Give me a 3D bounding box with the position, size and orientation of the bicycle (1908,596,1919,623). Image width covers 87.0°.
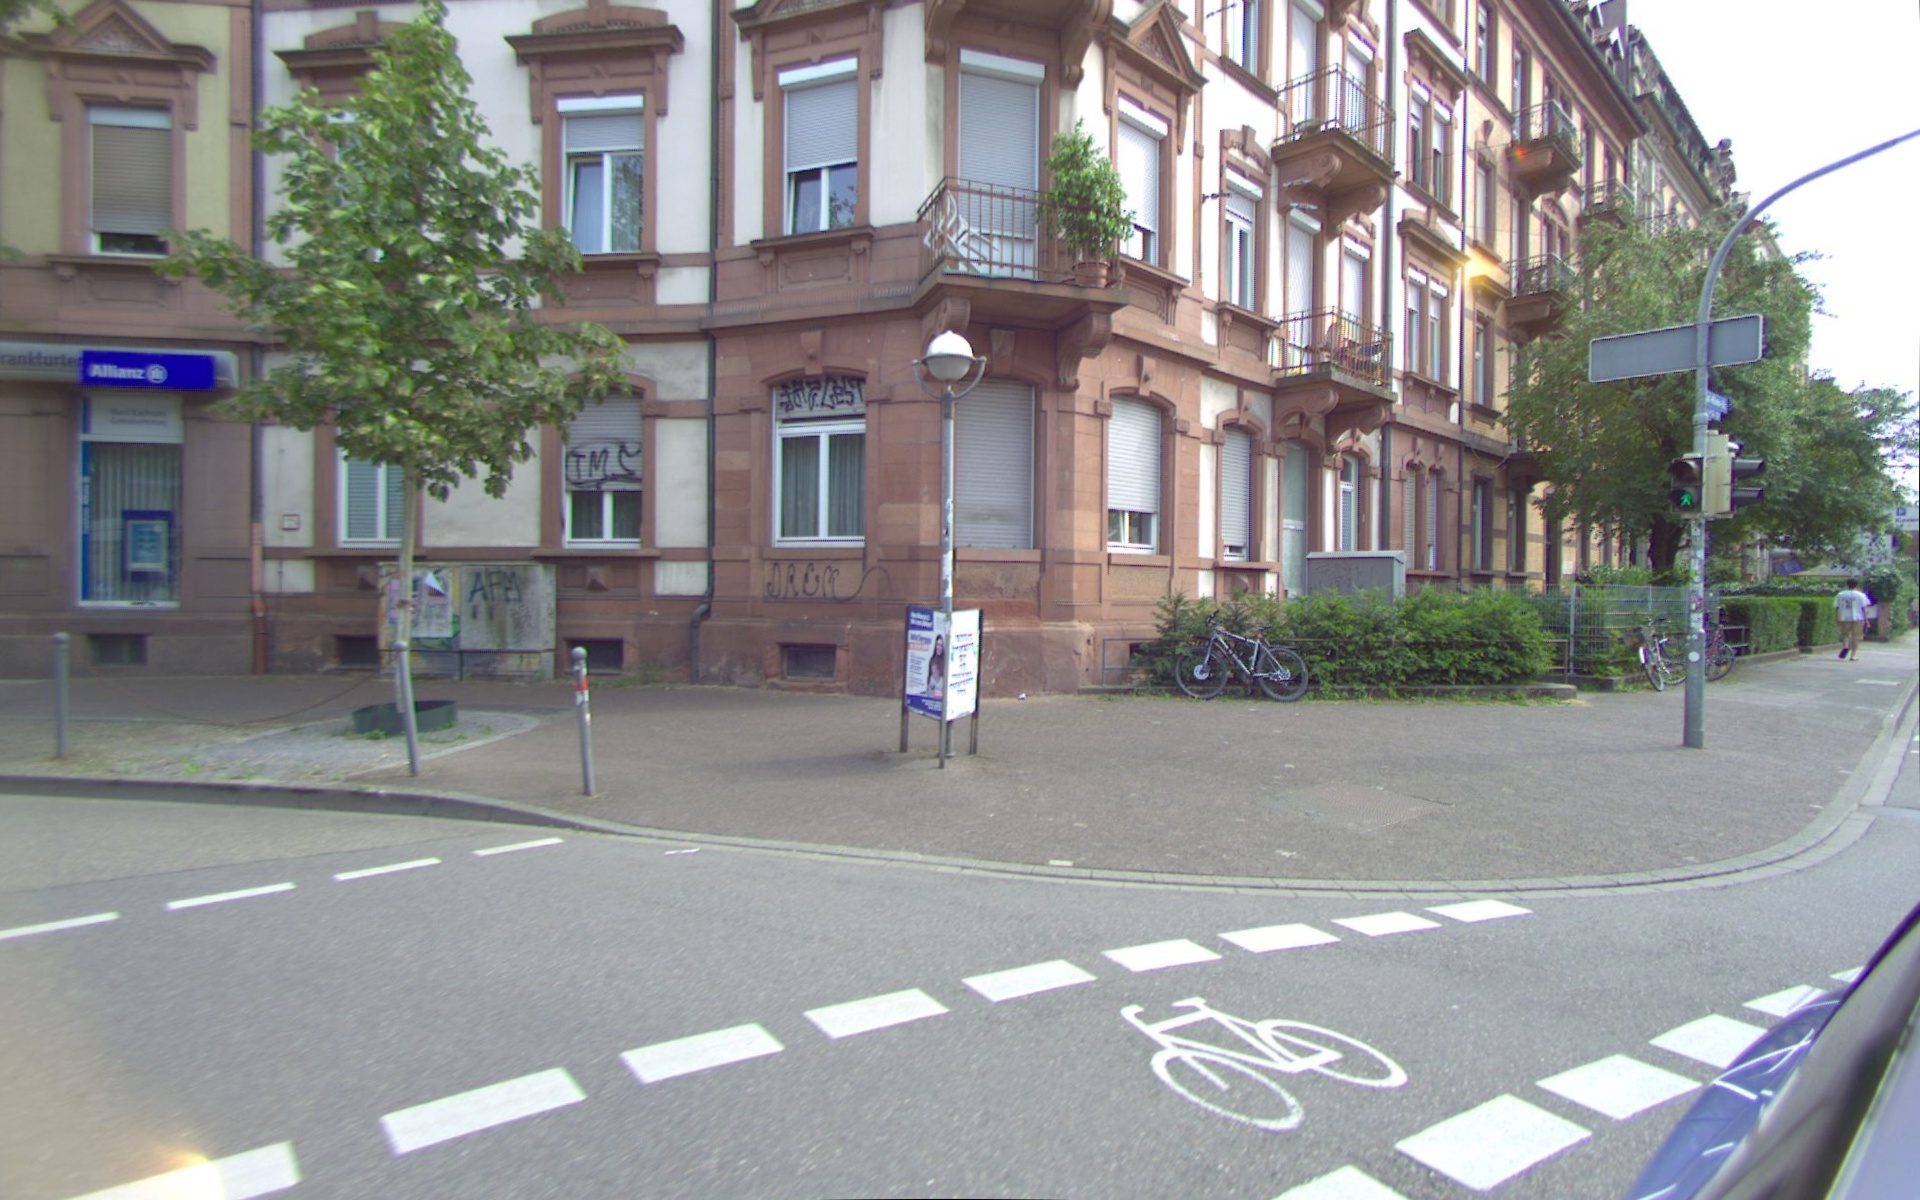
[{"bbox_3d":[40.178,0.382,42.443,0.579,1.126,1.645,1,1,45],"label":"bicycle"}]

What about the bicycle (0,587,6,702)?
[{"bbox_3d":[-10.535,0.438,10.516,1.663,1.158,0.664,2,1,38],"label":"bicycle"}]

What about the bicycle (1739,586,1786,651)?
[{"bbox_3d":[16.874,0.372,21.277,1.523,1.298,0.517,0,1,-42],"label":"bicycle"}]

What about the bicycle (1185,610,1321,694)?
[{"bbox_3d":[3.583,0.630,12.407,1.518,0.981,0.511,1,1,-11],"label":"bicycle"}]

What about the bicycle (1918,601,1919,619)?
[{"bbox_3d":[44.046,0.327,46.022,0.579,1.125,1.645,6,5,44],"label":"bicycle"}]

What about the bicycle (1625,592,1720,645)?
[{"bbox_3d":[14.723,0.369,20.950,0.437,1.021,1.546,0,1,-45],"label":"bicycle"}]

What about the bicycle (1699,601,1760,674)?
[{"bbox_3d":[12.675,0.592,16.656,1.524,1.101,0.509,0,4,-44],"label":"bicycle"}]

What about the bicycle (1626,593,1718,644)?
[{"bbox_3d":[15.060,0.379,21.435,0.437,1.021,1.546,0,1,-45],"label":"bicycle"}]

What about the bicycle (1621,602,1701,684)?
[{"bbox_3d":[10.470,0.609,15.097,1.644,1.120,0.671,0,1,-44],"label":"bicycle"}]

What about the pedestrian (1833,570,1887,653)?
[{"bbox_3d":[19.756,0.230,22.216,0.932,1.776,0.732,0,1,-39],"label":"pedestrian"}]

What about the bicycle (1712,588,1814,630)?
[{"bbox_3d":[26.848,0.277,33.877,2.624,1.328,0.758,2,1,44],"label":"bicycle"}]
